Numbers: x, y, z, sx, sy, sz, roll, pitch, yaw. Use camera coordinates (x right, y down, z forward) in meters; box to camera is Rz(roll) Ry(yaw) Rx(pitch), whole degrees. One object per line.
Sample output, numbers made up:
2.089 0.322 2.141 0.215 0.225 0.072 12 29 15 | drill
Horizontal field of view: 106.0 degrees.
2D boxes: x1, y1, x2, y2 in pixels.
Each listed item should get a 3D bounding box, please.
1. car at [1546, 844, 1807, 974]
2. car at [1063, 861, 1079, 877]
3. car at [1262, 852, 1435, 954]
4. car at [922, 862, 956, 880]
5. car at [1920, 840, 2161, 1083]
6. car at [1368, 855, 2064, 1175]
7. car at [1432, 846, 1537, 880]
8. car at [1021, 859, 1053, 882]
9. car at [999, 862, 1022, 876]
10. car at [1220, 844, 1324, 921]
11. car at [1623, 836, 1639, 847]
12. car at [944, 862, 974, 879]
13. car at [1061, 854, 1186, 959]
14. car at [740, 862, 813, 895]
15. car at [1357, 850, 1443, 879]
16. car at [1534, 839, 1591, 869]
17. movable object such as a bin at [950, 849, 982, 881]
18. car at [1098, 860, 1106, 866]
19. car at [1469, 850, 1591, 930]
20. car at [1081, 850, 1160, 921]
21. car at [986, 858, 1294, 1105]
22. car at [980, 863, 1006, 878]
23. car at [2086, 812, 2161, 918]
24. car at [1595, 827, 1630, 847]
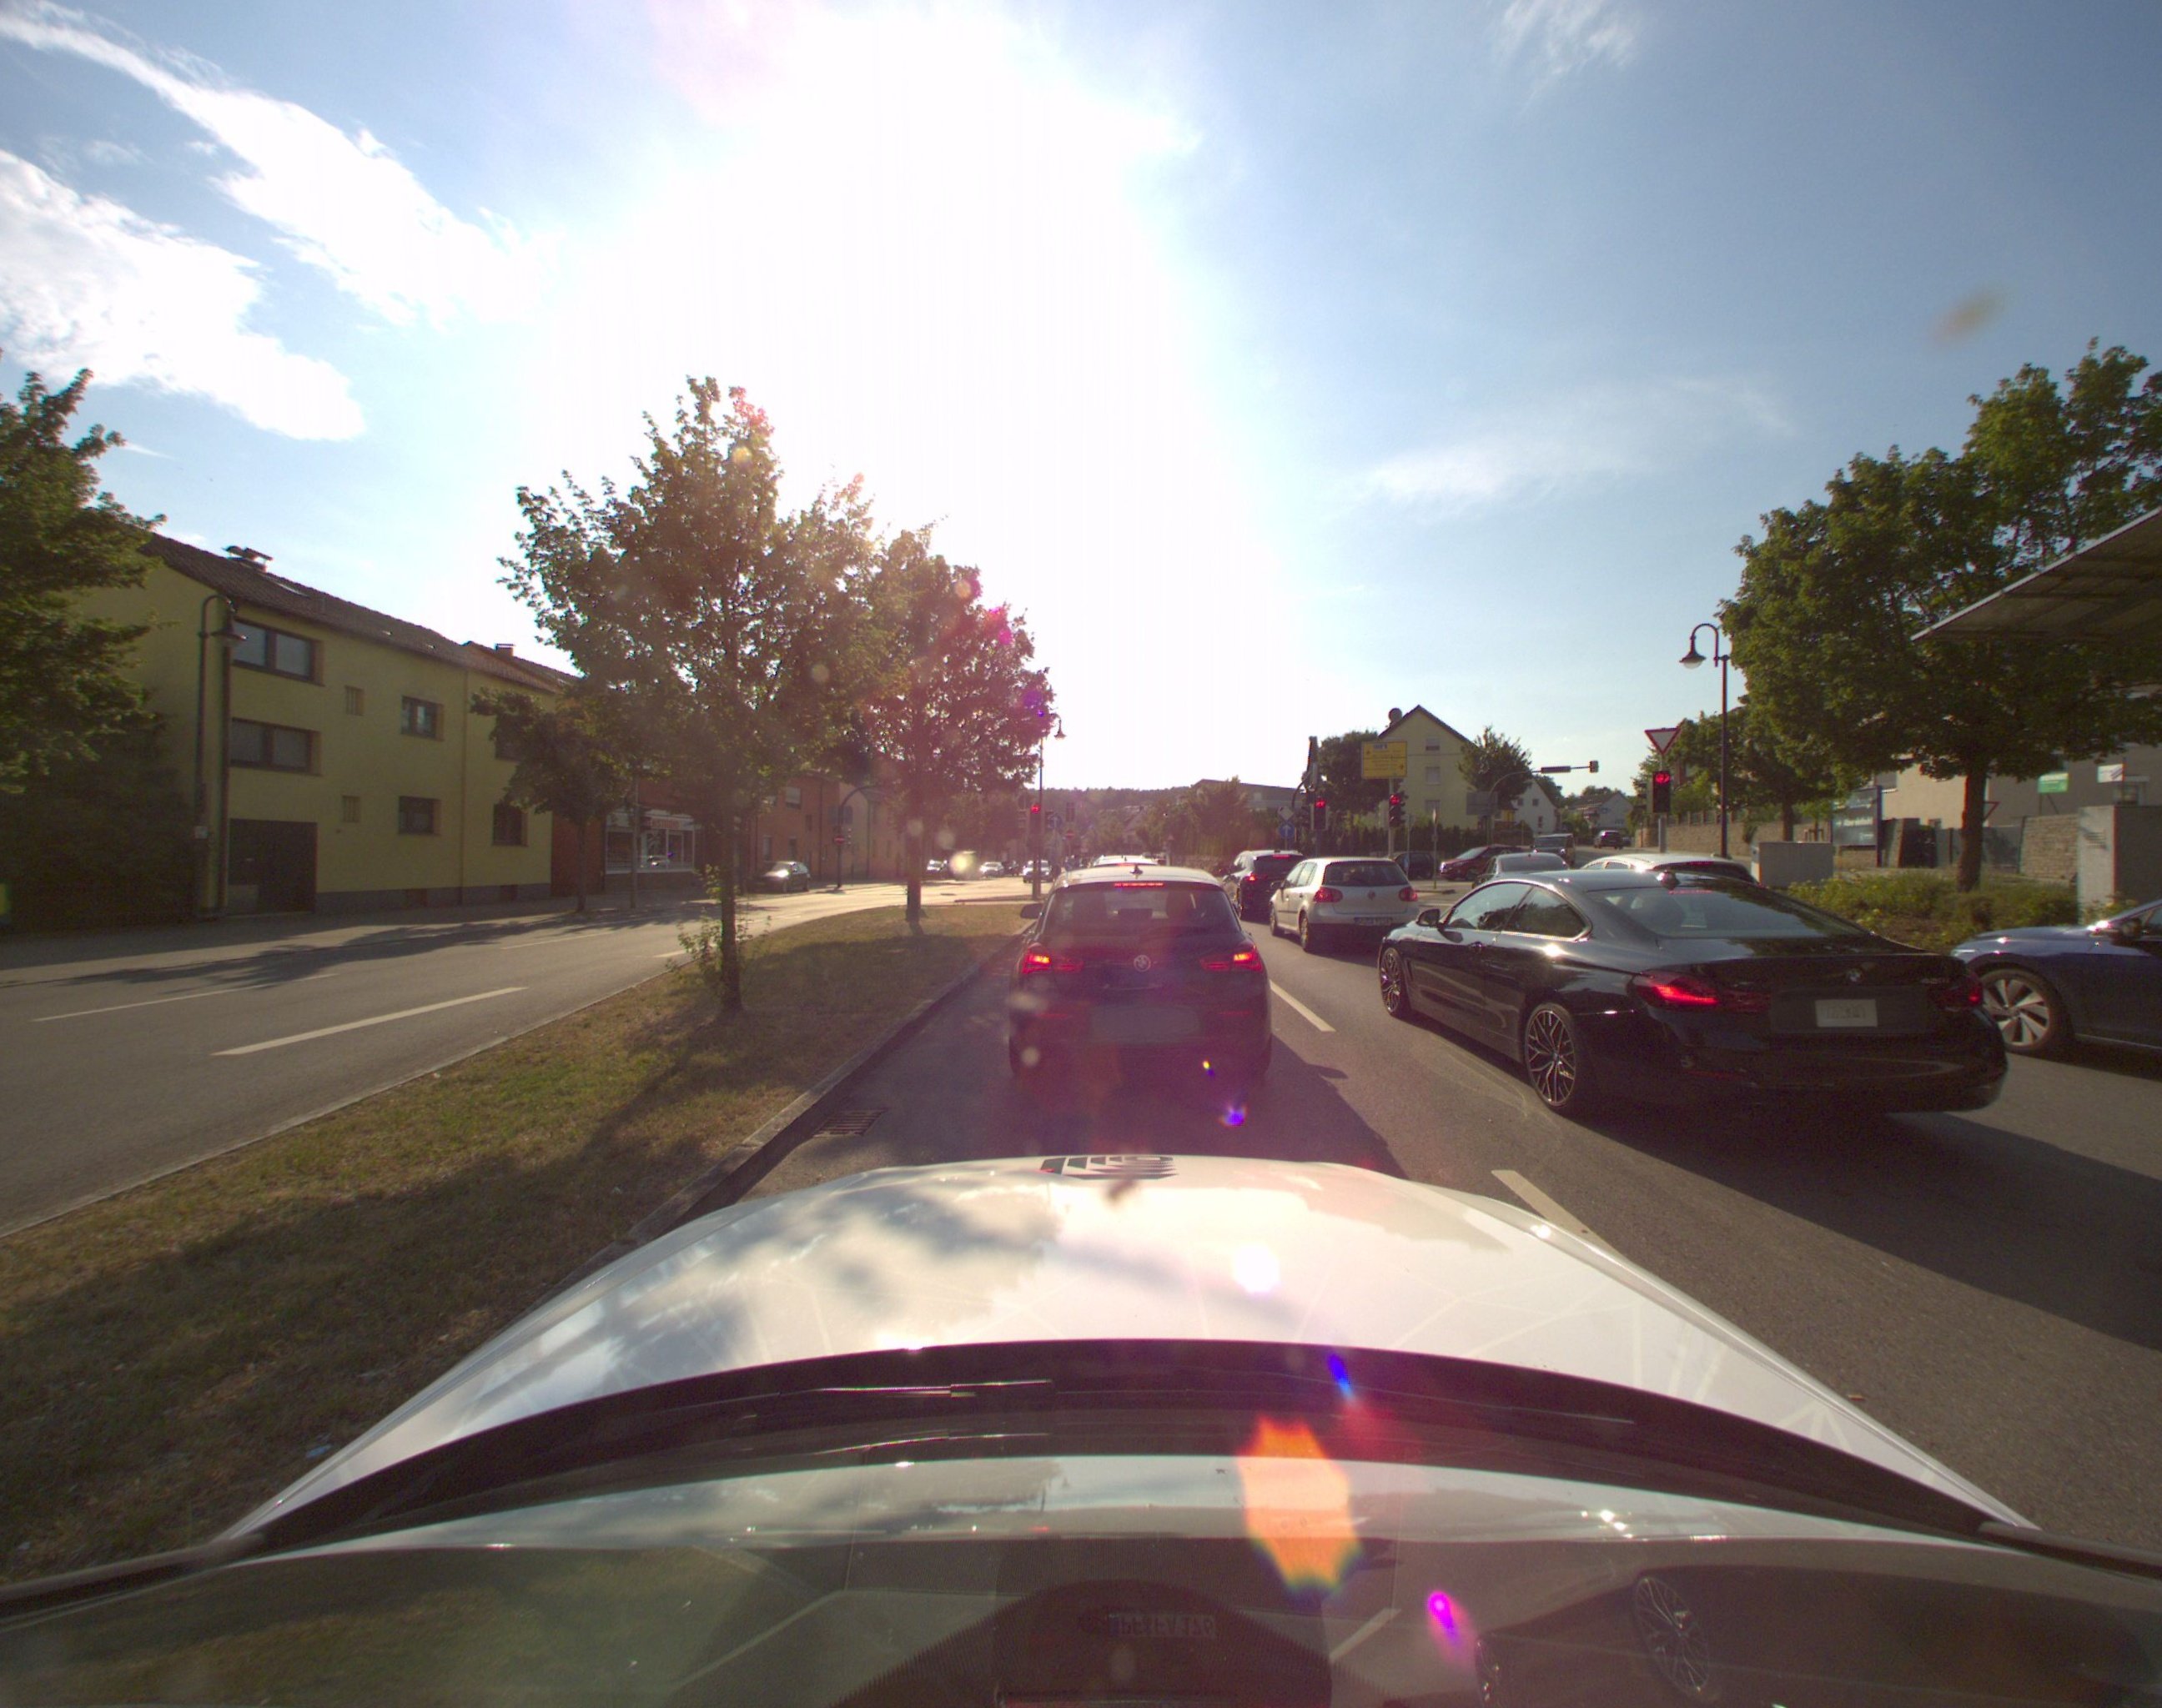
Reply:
8.112 0.667 11.477 1.608 1.542 3.326 -2 0 9 | car
-1.516 2.271 122.730 2.076 2.394 5.533 0 -1 3 | car
4.323 0.712 13.775 1.755 1.426 3.905 -2 0 2 | car
-11.744 1.421 67.607 1.728 1.301 4.006 4 0 6 | car
7.424 0.647 4.262 1.754 1.453 4.323 -2 0 4 | car
3.621 0.735 5.835 1.755 1.397 4.283 -2 0 2 | car
20.077 0.440 40.645 4.410 1.641 1.845 0 0 -6 | car
-2.947 1.105 55.772 1.832 1.482 4.002 -1 0 2 | car
-7.580 1.608 88.131 1.729 1.301 3.804 4 0 5 | car
4.570 0.646 20.057 1.755 1.656 3.905 -2 0 2 | car
86.040 -1.903 127.424 1.945 1.680 4.242 -2 0 36 | car
-11.047 1.466 73.869 1.729 1.301 4.005 4 0 5 | car
0.720 0.776 14.124 1.781 1.494 4.283 -2 0 2 | car
-14.138 1.110 38.044 1.730 1.301 4.002 4 0 2 | car
17.347 0.566 44.372 3.974 1.489 1.848 0 0 -1 | car
29.377 0.015 49.637 4.812 1.739 1.825 0 0 -45 | car
-9.180 0.875 65.378 1.729 2.442 4.452 -1 0 3 | movable object such as a bin
5.355 2.302 209.943 1.729 1.301 3.804 4 0 5 | car
9.883 0.710 18.251 1.642 1.542 4.420 -2 0 19 | car
1.022 0.736 21.163 1.781 1.594 4.283 -2 0 2 | car
0.443 0.769 6.980 1.781 1.397 4.283 -2 0 2 | car
-8.319 1.534 77.275 1.729 1.301 3.804 4 0 5 | car
18.495 0.154 12.398 3.793 1.632 1.784 0 0 10 | car
47.687 -1.469 73.181 1.947 1.680 4.239 -2 0 24 | car
